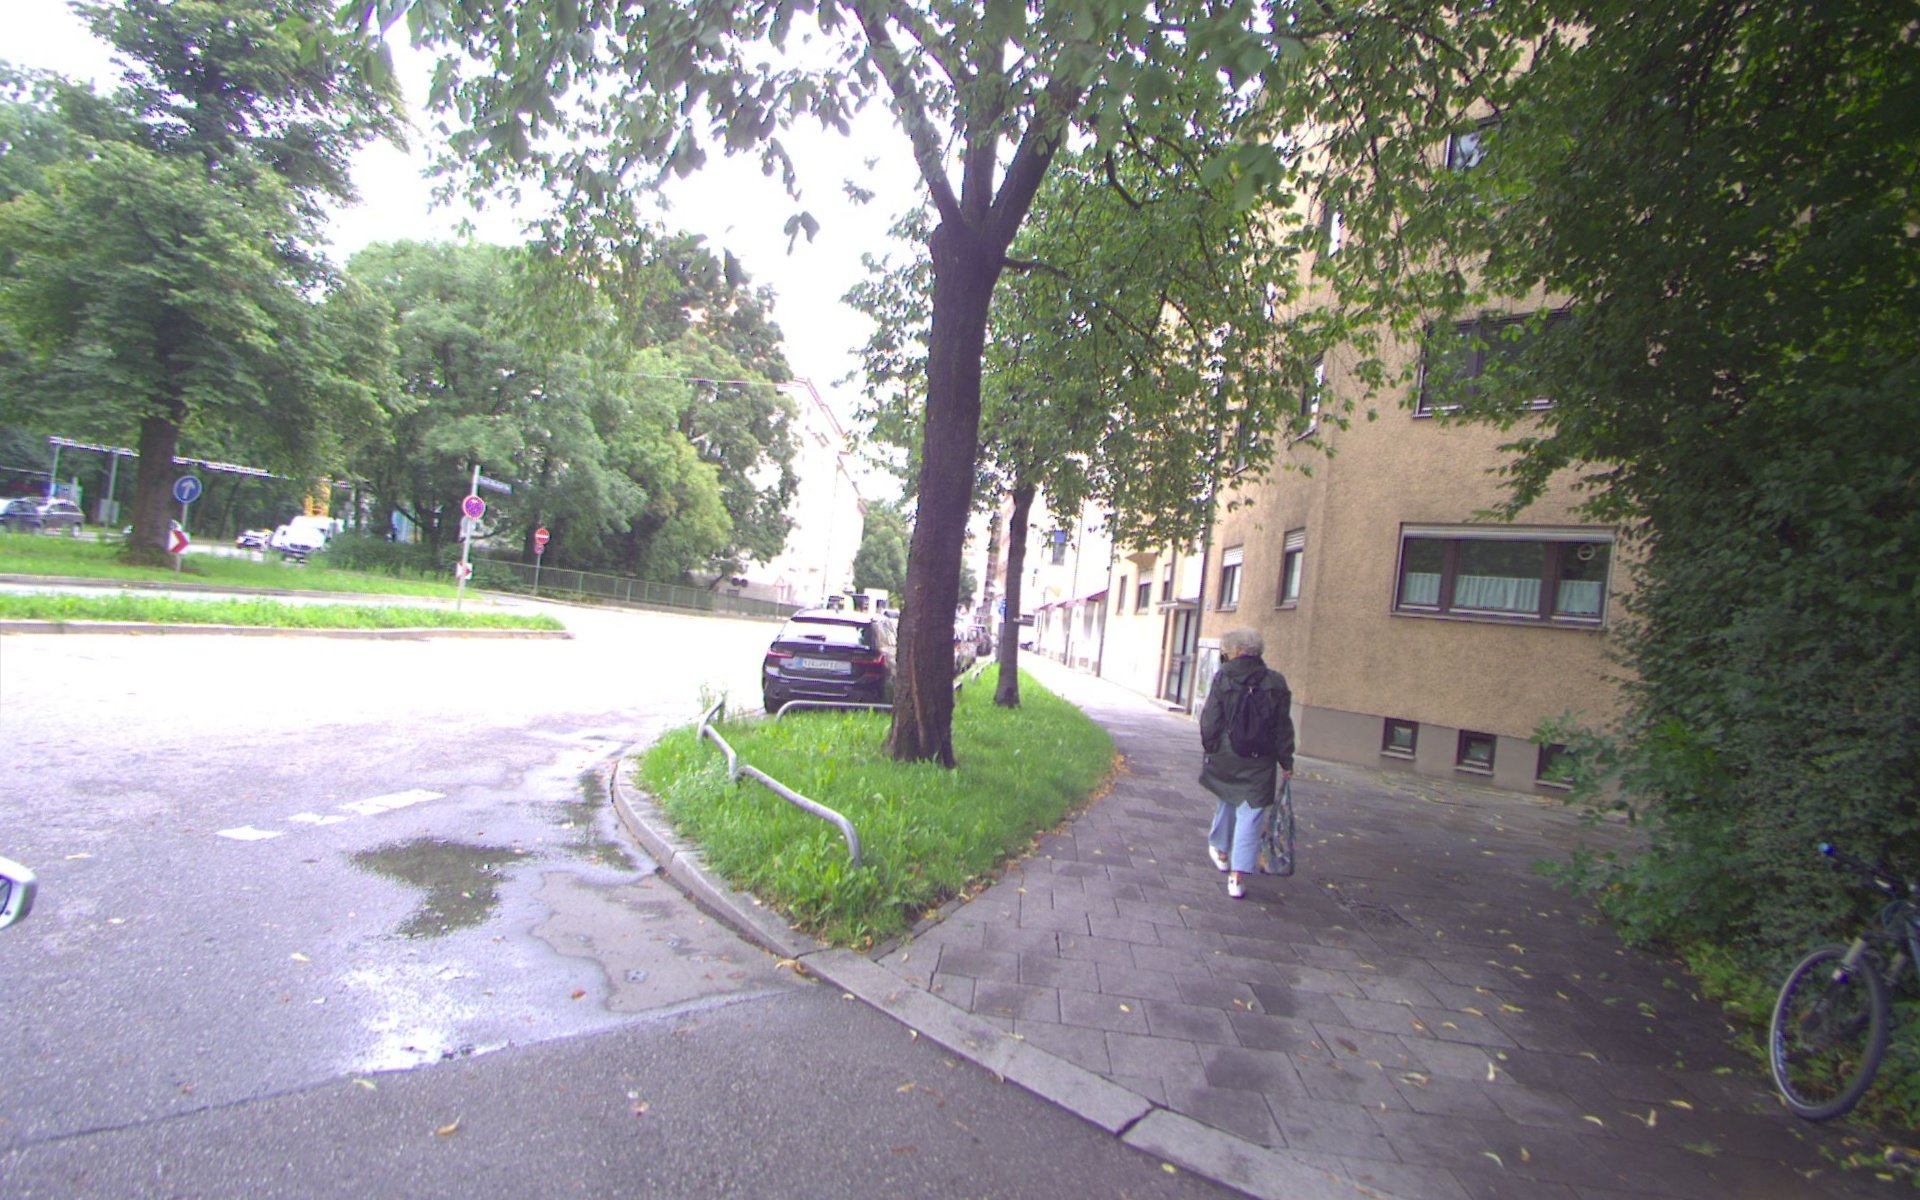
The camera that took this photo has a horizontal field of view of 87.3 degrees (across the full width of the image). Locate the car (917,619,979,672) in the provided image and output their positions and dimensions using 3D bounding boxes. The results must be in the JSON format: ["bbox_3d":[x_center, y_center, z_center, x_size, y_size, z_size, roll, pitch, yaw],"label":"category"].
[{"bbox_3d":[-0.329,1.490,33.880,1.664,1.514,4.437,5,-1,3],"label":"car"}]

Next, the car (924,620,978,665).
[{"bbox_3d":[-0.285,1.651,40.038,1.729,1.514,4.490,6,-1,3],"label":"car"}]

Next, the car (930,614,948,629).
[{"bbox_3d":[-2.445,2.523,117.502,1.960,1.447,4.139,7,0,0],"label":"car"}]

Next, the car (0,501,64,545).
[{"bbox_3d":[-37.052,-3.070,38.718,1.865,1.464,4.027,7,-1,-9],"label":"car"}]

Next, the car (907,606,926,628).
[{"bbox_3d":[-5.610,2.214,130.512,1.910,2.510,4.784,7,-1,1],"label":"car"}]

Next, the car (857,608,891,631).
[{"bbox_3d":[-6.319,1.433,74.360,1.960,1.447,4.139,7,0,0],"label":"car"}]

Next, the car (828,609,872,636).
[{"bbox_3d":[-7.165,1.456,65.770,1.959,1.447,4.906,7,0,3],"label":"car"}]

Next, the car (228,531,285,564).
[{"bbox_3d":[-50.441,-3.738,72.200,1.668,1.897,3.993,7,-1,-11],"label":"car"}]

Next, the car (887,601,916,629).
[{"bbox_3d":[-4.904,1.254,85.033,1.960,2.101,4.139,7,0,0],"label":"car"}]

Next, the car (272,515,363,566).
[{"bbox_3d":[-36.354,-3.326,57.130,2.269,2.297,5.122,7,-1,-9],"label":"car"}]

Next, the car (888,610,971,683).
[{"bbox_3d":[-0.667,1.118,24.846,1.602,1.514,3.823,5,-1,3],"label":"car"}]

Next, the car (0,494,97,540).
[{"bbox_3d":[-44.927,-4.057,49.094,1.966,1.739,4.642,6,-1,-9],"label":"car"}]

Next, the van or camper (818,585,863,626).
[{"bbox_3d":[-9.583,0.416,81.213,2.561,2.875,6.184,7,0,0],"label":"van or camper"}]

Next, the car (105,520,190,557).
[{"bbox_3d":[-42.040,-3.155,52.140,1.805,1.464,4.223,6,-1,-16],"label":"car"}]

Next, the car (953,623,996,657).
[{"bbox_3d":[0.782,2.065,51.717,1.728,1.514,3.826,5,-1,6],"label":"car"}]

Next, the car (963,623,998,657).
[{"bbox_3d":[1.207,2.228,56.904,1.729,1.699,4.709,5,-1,3],"label":"car"}]

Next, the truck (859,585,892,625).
[{"bbox_3d":[-9.542,0.620,114.049,2.967,3.999,6.994,7,-1,-2],"label":"truck"}]

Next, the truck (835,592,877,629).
[{"bbox_3d":[-9.354,0.947,90.924,2.731,2.908,7.200,7,0,0],"label":"truck"}]

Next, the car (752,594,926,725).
[{"bbox_3d":[-1.608,0.813,14.868,1.763,1.515,4.378,4,-1,3],"label":"car"}]

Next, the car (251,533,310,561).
[{"bbox_3d":[-44.325,-3.436,65.691,1.869,1.464,4.285,7,-1,-17],"label":"car"}]

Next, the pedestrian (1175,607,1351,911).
[{"bbox_3d":[1.823,0.920,6.193,0.660,1.643,0.981,7,-1,4],"label":"pedestrian"}]

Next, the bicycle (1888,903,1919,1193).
[{"bbox_3d":[3.147,1.435,2.769,0.245,0.891,1.080,6,-1,10],"label":"bicycle"}]

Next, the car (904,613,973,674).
[{"bbox_3d":[-0.571,1.245,29.311,1.602,1.514,3.789,5,-1,3],"label":"car"}]

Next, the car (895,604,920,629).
[{"bbox_3d":[-4.873,1.534,94.198,1.963,2.038,3.999,7,0,-1],"label":"car"}]

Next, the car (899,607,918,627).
[{"bbox_3d":[-5.967,1.985,116.978,1.963,2.038,4.000,7,-1,-1],"label":"car"}]
